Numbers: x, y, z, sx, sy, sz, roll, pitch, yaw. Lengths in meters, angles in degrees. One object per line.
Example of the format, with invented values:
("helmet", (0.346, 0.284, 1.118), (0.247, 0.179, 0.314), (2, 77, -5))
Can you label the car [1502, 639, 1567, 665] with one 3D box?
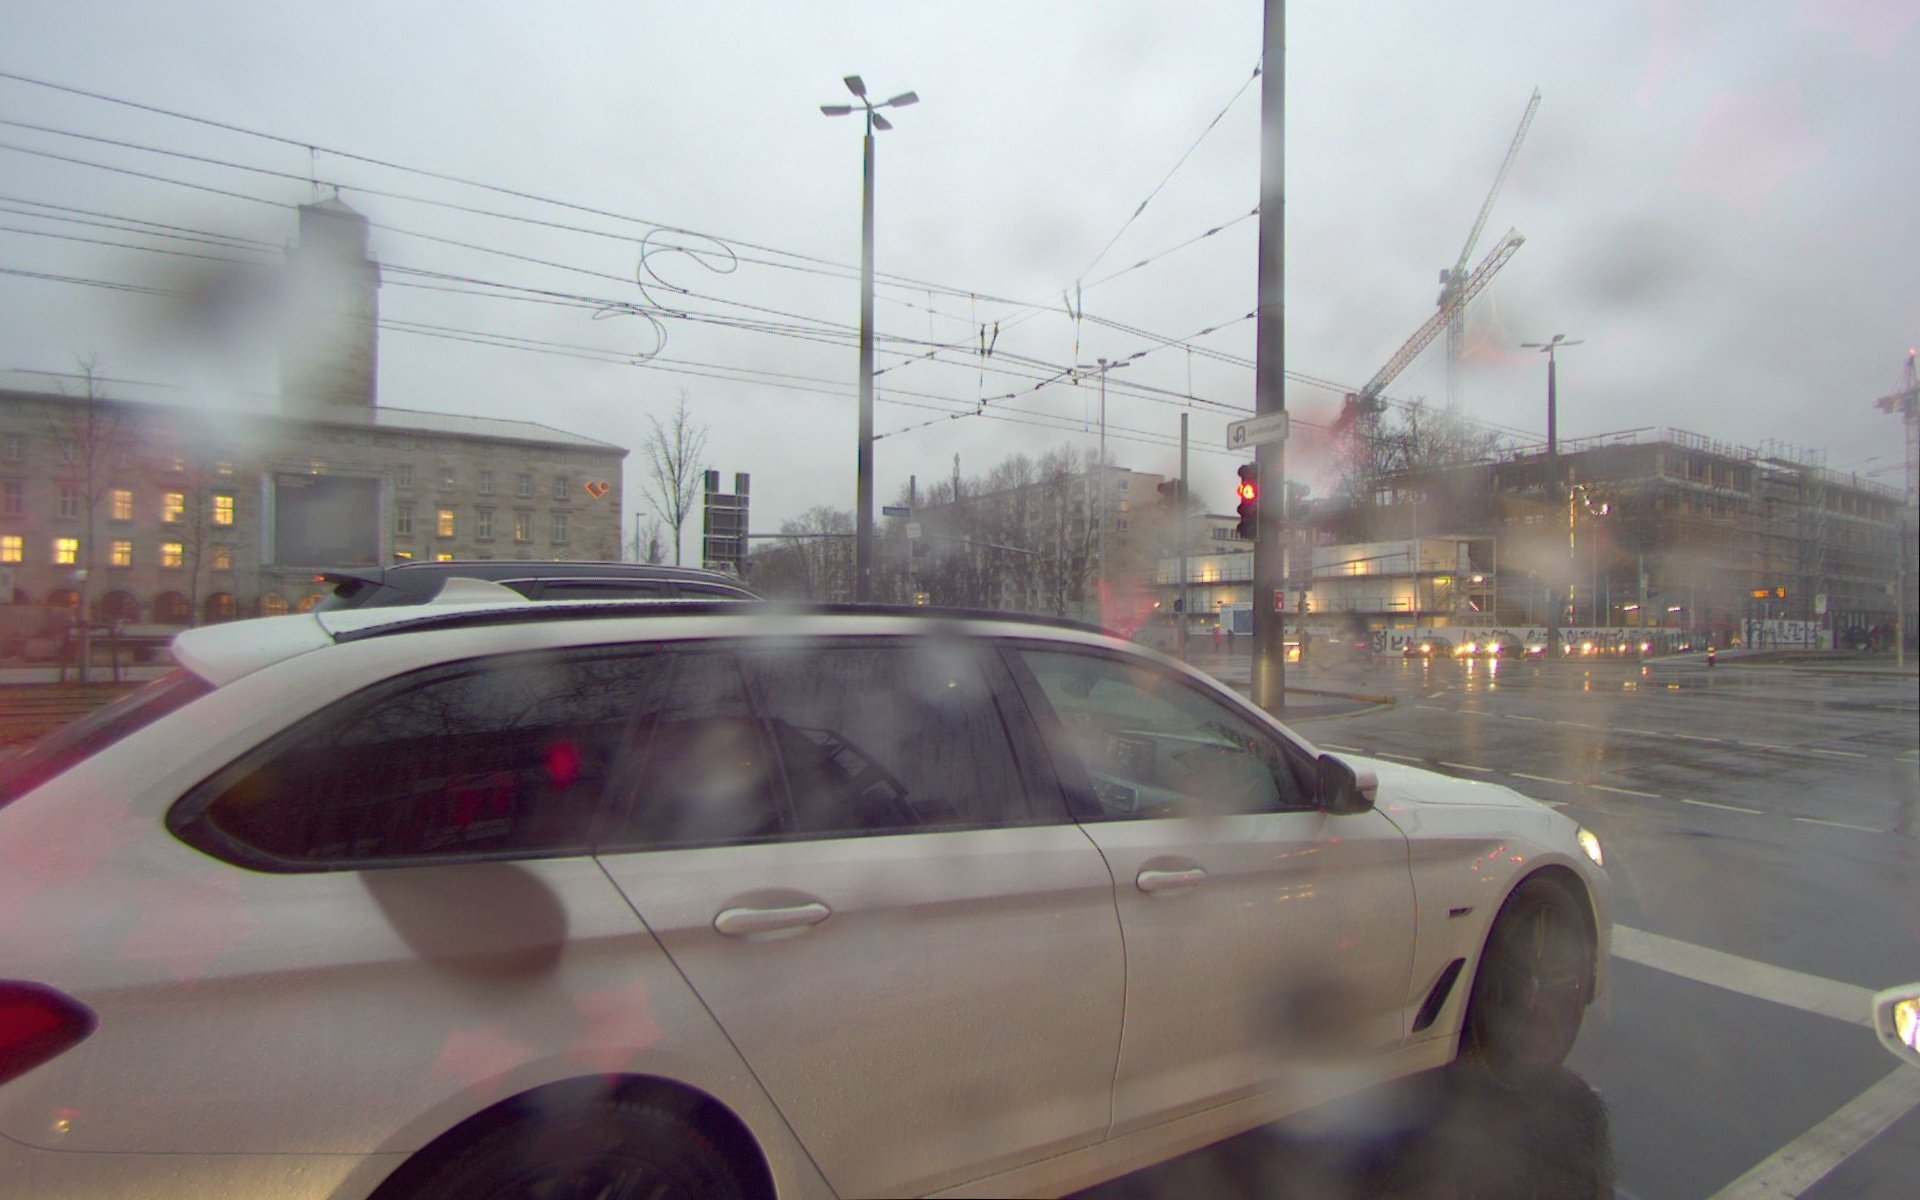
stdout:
("car", (35.890, 3.245, 62.722), (4.577, 1.550, 2.059), (2, -2, -40))

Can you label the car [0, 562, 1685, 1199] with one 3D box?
("car", (0.028, 0.774, 3.107), (4.508, 1.506, 2.007), (2, -2, -31))

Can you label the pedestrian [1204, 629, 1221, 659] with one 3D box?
("pedestrian", (17.244, 2.997, 68.544), (0.620, 2.040, 0.856), (2, 0, -37))

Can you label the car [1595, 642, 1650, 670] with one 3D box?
("car", (46.927, 3.964, 71.125), (3.962, 1.814, 1.980), (2, 0, -36))

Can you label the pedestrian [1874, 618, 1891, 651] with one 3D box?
("pedestrian", (57.921, 2.175, 63.051), (0.659, 1.994, 0.566), (2, 1, -36))

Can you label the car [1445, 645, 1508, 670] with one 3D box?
("car", (34.752, 3.853, 67.600), (3.953, 1.550, 1.984), (2, -2, -30))

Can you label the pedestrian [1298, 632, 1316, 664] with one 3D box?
("pedestrian", (24.675, 3.391, 71.411), (0.758, 2.194, 0.867), (2, 0, -38))

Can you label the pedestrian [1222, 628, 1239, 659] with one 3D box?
("pedestrian", (18.368, 2.934, 68.227), (0.737, 2.040, 0.783), (2, 0, -25))

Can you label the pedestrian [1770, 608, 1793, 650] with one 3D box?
("pedestrian", (47.237, 1.671, 57.782), (0.754, 2.354, 0.761), (3, -1, -30))

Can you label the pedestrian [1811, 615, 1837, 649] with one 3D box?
("pedestrian", (53.647, 2.002, 62.368), (1.084, 2.040, 0.935), (2, 0, -37))

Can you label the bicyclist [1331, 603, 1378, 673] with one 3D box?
("bicyclist", (11.123, 1.052, 28.320), (1.138, 1.896, 0.745), (2, 0, 25))

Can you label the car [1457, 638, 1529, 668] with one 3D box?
("car", (31.373, 3.080, 59.093), (3.953, 1.679, 1.984), (2, -2, -30))

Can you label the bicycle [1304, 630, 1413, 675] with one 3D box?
("bicycle", (11.203, 1.445, 28.273), (2.811, 1.114, 0.745), (2, 0, 25))

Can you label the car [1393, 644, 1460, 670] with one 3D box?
("car", (29.529, 3.595, 63.546), (3.953, 1.550, 1.984), (2, -2, -30))

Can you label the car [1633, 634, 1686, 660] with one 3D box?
("car", (51.583, 3.469, 74.077), (3.962, 1.814, 1.980), (2, 0, -36))

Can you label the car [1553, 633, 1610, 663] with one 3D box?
("car", (41.174, 3.164, 66.537), (3.963, 1.852, 1.852), (2, 0, -37))

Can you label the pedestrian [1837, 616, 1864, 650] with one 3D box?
("pedestrian", (55.418, 2.056, 62.517), (1.082, 2.040, 0.937), (2, 0, -32))

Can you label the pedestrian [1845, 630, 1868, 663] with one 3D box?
("pedestrian", (53.730, 2.777, 60.205), (0.754, 1.922, 0.761), (3, -1, -30))

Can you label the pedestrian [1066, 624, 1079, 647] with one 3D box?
("pedestrian", (9.776, 3.067, 87.252), (0.709, 1.927, 0.787), (1, -1, -31))

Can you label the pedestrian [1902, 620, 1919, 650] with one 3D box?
("pedestrian", (66.026, 2.412, 69.589), (1.084, 2.040, 0.935), (2, 0, -37))

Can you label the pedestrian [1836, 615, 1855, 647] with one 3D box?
("pedestrian", (54.521, 1.914, 61.843), (0.547, 1.906, 0.695), (2, 0, -30))

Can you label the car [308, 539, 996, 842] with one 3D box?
("car", (-2.059, 0.554, 7.239), (4.238, 1.605, 1.958), (2, -1, -29))
